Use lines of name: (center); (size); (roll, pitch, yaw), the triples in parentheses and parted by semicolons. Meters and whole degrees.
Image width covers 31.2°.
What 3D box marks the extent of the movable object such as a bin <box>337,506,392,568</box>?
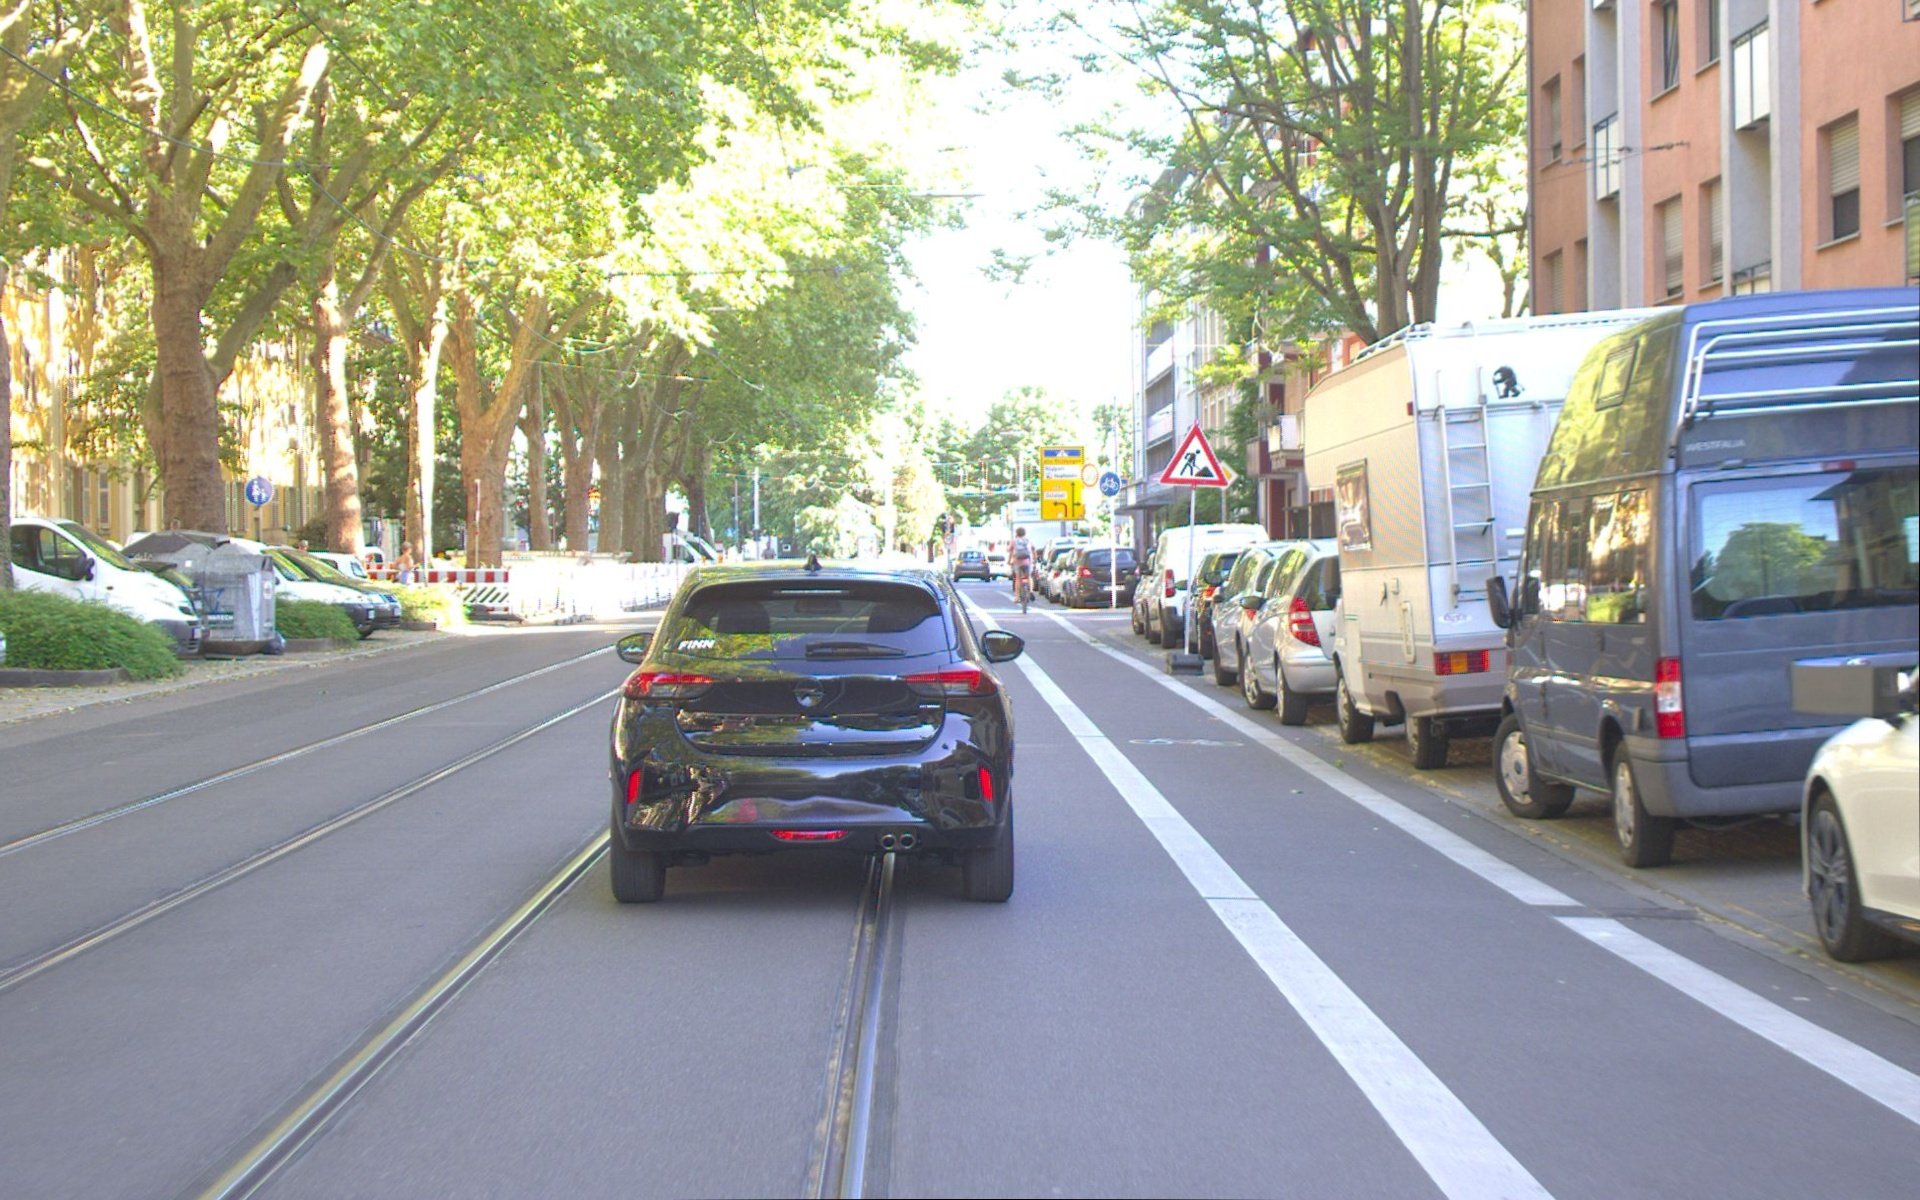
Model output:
movable object such as a bin: (-18.142, -1.919, 104.766); (1.333, 1.862, 2.008); (0, 0, 0)

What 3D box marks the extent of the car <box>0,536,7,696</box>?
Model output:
car: (-11.859, 0.208, 34.869); (3.847, 1.657, 1.862); (-1, 1, 0)

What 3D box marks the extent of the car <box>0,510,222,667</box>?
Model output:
car: (-11.840, -0.156, 43.490); (4.656, 1.938, 1.962); (0, 1, -4)

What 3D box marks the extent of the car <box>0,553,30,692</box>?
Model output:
car: (-12.247, 0.274, 37.192); (3.847, 1.492, 1.862); (-1, 1, 0)

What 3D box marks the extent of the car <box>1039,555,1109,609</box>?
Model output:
car: (3.140, -0.514, 95.693); (1.659, 1.394, 4.740); (-2, 1, -1)

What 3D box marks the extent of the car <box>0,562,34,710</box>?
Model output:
car: (-11.189, 0.374, 32.716); (4.264, 1.394, 1.753); (-1, 1, 0)

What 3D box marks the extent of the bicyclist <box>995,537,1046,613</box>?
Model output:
bicyclist: (1.315, -0.548, 74.939); (1.089, 1.641, 1.400); (0, 1, 0)

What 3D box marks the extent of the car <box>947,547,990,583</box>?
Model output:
car: (0.400, -1.730, 168.374); (1.993, 1.690, 4.740); (-2, 1, -1)

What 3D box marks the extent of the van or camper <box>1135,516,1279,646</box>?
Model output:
van or camper: (3.697, -0.314, 52.165); (1.755, 1.858, 4.831); (-1, 1, -1)

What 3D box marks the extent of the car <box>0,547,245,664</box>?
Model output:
car: (-11.776, 0.063, 46.373); (3.847, 1.492, 1.862); (-1, 1, 0)

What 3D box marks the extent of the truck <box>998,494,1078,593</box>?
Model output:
truck: (2.773, -2.006, 123.564); (2.538, 3.327, 7.195); (-3, 0, 0)

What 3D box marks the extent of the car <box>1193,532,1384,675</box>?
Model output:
car: (3.911, 0.005, 41.530); (1.767, 1.567, 4.337); (-2, 1, -1)

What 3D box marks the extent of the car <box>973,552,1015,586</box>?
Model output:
car: (1.780, -1.639, 180.200); (1.993, 1.690, 4.740); (-2, 1, -1)

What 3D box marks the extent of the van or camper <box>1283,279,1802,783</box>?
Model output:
van or camper: (3.947, -0.480, 24.680); (2.462, 3.053, 6.268); (-2, 1, -1)

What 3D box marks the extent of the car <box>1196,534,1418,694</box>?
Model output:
car: (3.601, 0.108, 36.351); (1.788, 1.517, 4.322); (-2, 1, -1)

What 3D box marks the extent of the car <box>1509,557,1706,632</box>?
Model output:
car: (13.831, -0.130, 73.557); (3.913, 1.477, 1.562); (0, 3, -1)

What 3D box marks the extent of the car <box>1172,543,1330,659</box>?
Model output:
car: (3.898, -0.022, 46.610); (1.705, 1.468, 4.168); (-1, 1, -1)

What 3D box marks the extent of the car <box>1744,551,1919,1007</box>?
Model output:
car: (4.168, 0.574, 11.387); (1.993, 1.488, 4.740); (-2, 1, 0)

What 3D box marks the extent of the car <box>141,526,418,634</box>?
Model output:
car: (-11.186, -0.340, 56.683); (4.198, 1.751, 1.740); (0, 1, 1)

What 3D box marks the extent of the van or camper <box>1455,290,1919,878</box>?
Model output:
van or camper: (4.153, -0.130, 18.330); (2.132, 2.654, 4.980); (-2, 1, -1)

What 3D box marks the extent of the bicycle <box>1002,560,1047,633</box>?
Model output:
bicycle: (1.399, -0.095, 74.901); (0.916, 1.555, 3.405); (0, 1, 0)

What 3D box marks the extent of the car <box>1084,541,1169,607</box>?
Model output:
car: (3.970, -0.638, 82.277); (1.733, 1.457, 3.916); (-2, 1, -1)

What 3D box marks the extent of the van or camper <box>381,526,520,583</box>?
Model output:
van or camper: (-21.661, -1.932, 146.391); (5.502, 2.371, 2.269); (1, 0, 3)

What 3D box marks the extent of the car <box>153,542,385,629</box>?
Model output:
car: (-12.653, -0.277, 63.110); (3.847, 1.492, 1.862); (-1, 1, 0)

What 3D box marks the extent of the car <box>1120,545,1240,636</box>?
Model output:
car: (3.698, -0.188, 58.214); (1.705, 1.468, 4.000); (-1, 1, -1)

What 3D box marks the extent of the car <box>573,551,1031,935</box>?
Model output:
car: (-0.644, 0.530, 15.391); (1.781, 1.491, 4.000); (0, 1, -1)

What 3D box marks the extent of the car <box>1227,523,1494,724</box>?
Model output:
car: (3.547, 0.165, 31.165); (1.793, 1.622, 4.277); (-2, 1, -1)

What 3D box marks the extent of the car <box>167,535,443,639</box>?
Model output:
car: (-11.195, -0.235, 58.924); (4.235, 1.682, 1.933); (-1, 1, 7)
